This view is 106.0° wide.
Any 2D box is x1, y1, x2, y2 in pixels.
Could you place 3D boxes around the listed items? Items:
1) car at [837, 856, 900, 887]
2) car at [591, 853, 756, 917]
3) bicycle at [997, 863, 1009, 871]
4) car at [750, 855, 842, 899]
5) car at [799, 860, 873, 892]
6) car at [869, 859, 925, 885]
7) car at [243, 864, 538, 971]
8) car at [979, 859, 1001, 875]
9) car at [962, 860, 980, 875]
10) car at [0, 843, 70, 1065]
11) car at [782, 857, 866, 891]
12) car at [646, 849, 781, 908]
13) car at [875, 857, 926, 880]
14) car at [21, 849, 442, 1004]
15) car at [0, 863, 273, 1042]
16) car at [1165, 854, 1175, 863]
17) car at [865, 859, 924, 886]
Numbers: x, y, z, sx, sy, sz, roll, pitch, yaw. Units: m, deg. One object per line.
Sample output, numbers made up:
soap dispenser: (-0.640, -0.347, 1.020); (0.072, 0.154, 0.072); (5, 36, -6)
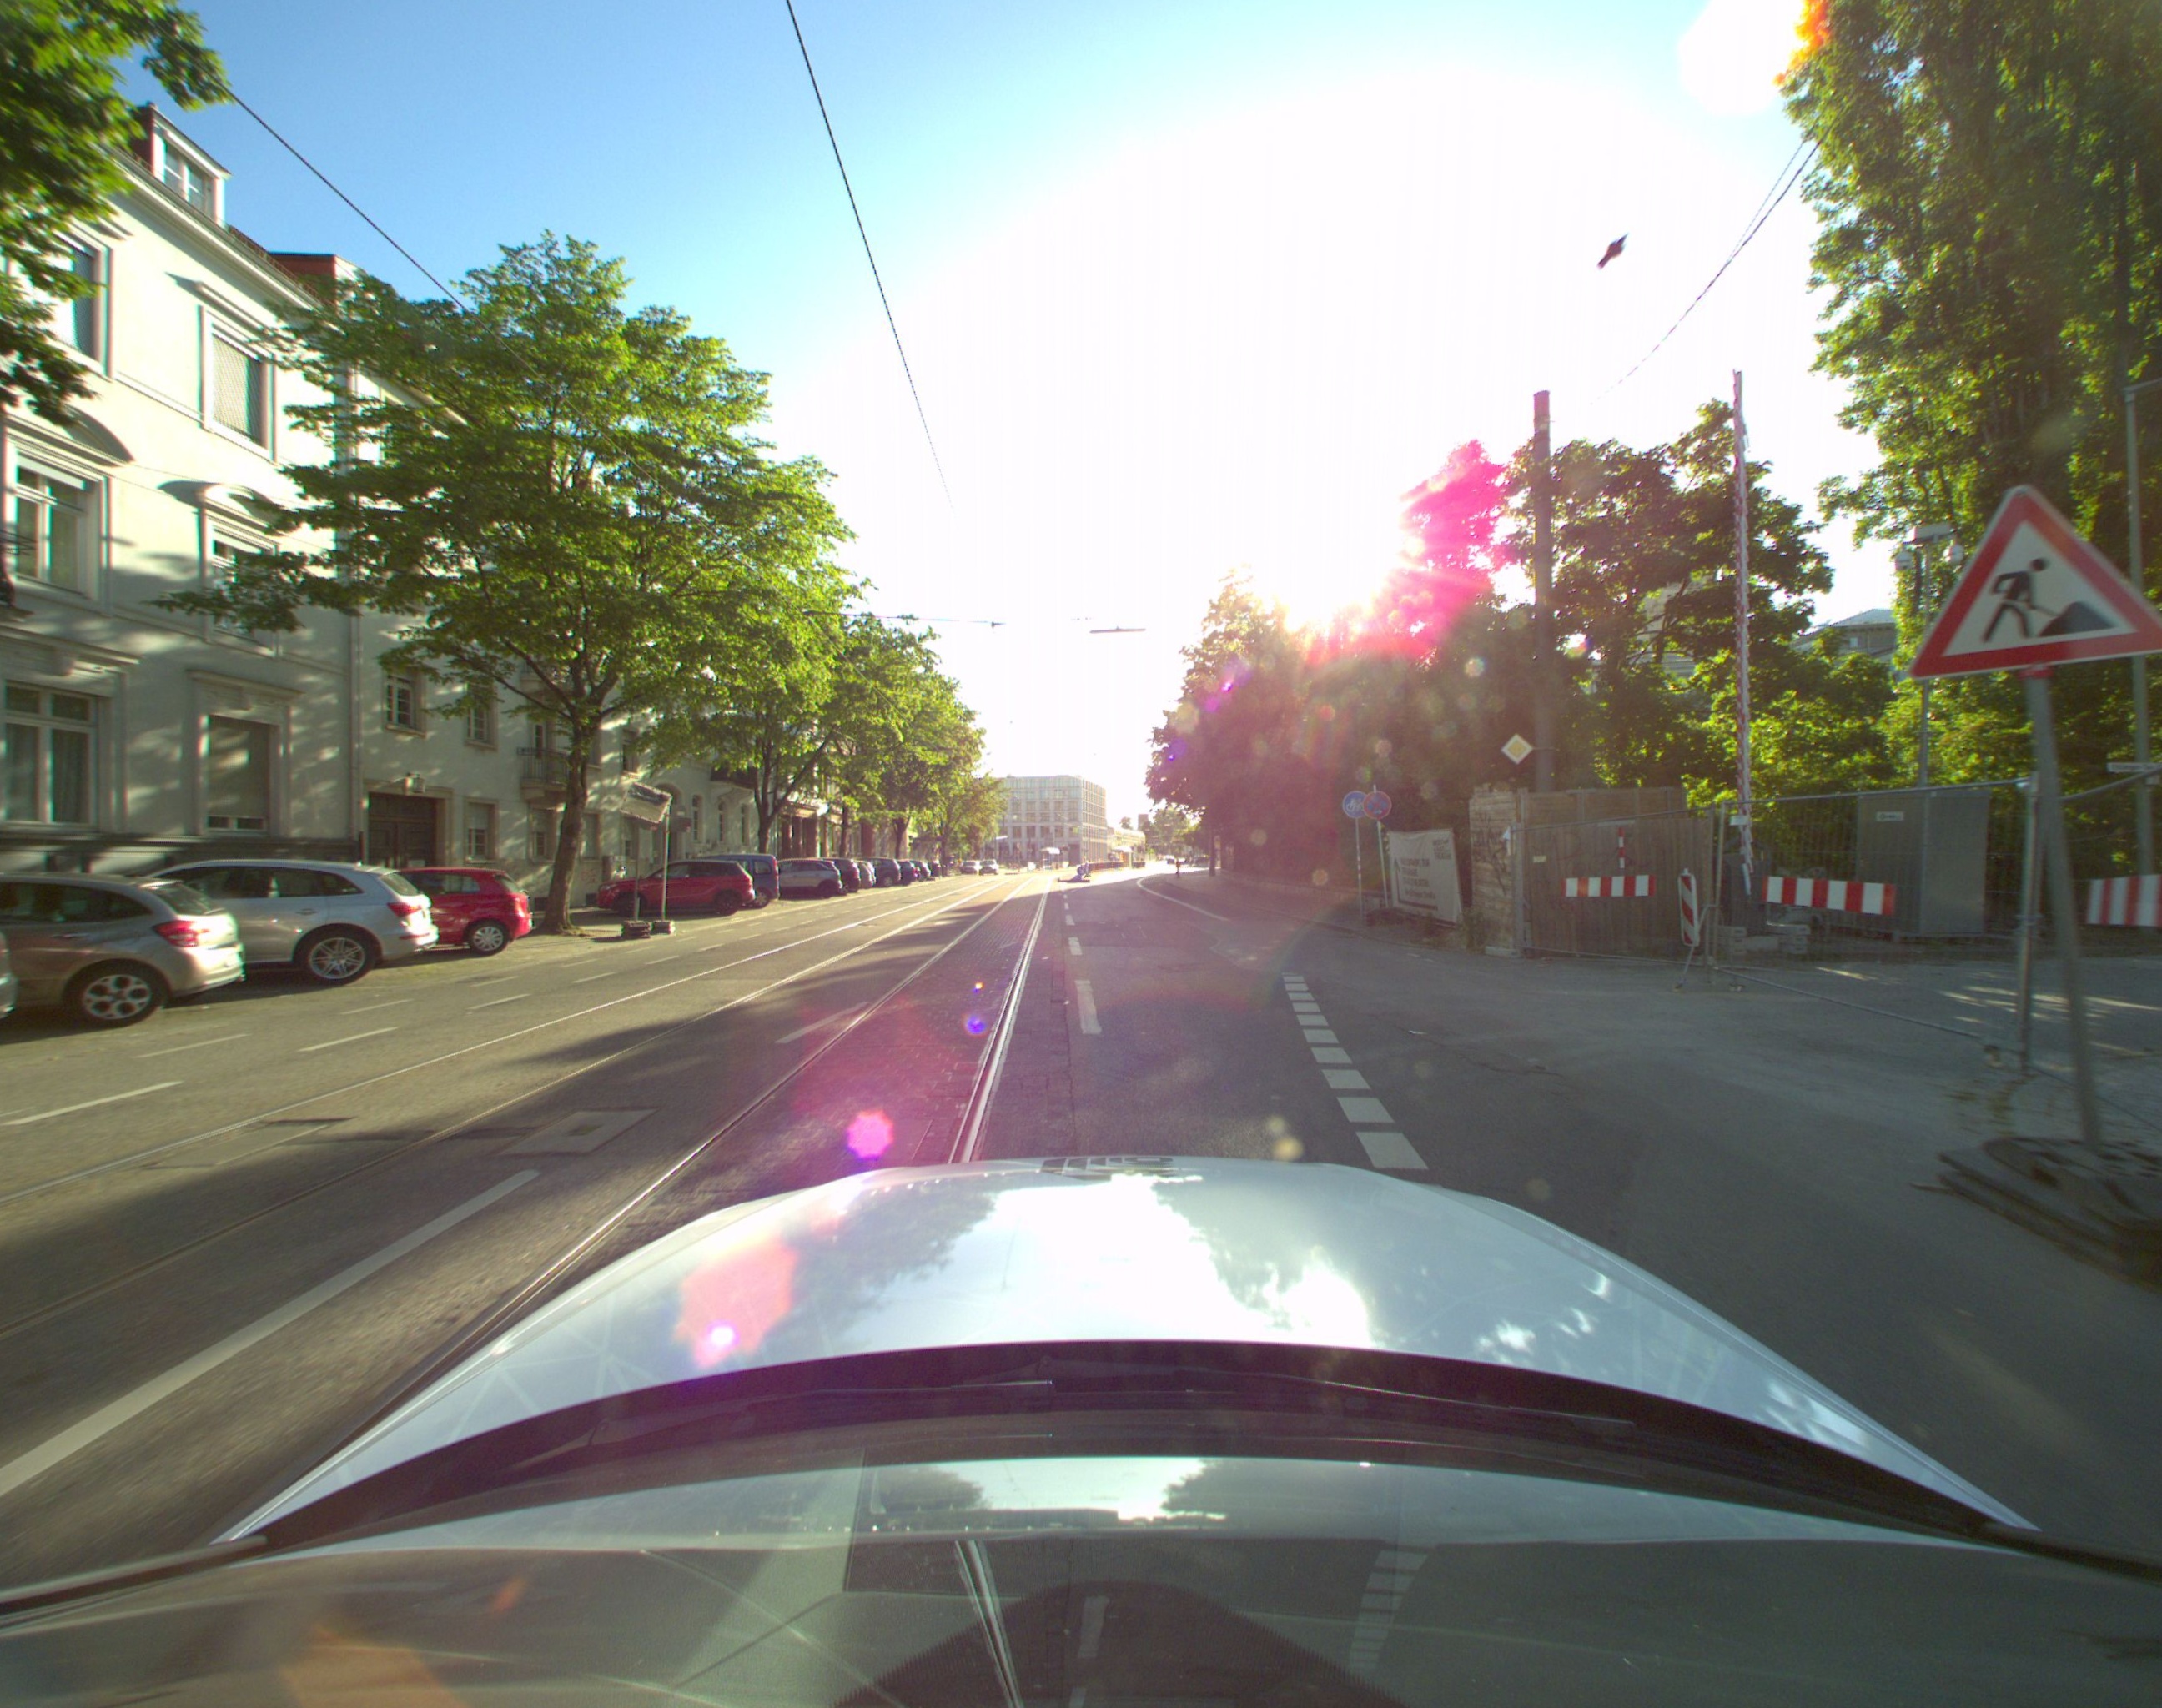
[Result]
car: (-12.120, 0.966, 46.508); (3.286, 1.698, 1.458); (-1, 0, -24)
car: (-11.800, 0.847, 23.746); (4.185, 1.721, 1.569); (0, 0, -29)
bicycle: (-11.903, 2.022, 123.896); (1.794, 1.224, 0.597); (-1, 0, -11)
car: (-11.690, 0.902, 33.480); (3.394, 1.697, 1.392); (0, -1, -30)
car: (-11.819, 1.039, 39.290); (3.286, 1.484, 1.458); (-1, 0, -24)
car: (-11.829, 1.131, 52.380); (3.286, 1.585, 1.458); (-1, 0, -24)
car: (-11.608, 0.983, 14.011); (3.703, 1.527, 1.467); (-1, 0, -37)
car: (-9.286, 1.343, 83.269); (1.552, 1.530, 4.002); (-1, 0, 2)
car: (-12.172, 1.484, 90.079); (1.568, 1.490, 3.997); (-1, 0, -1)
car: (-10.215, 0.806, 5.657); (3.703, 1.721, 1.593); (-1, 0, -37)
car: (-11.524, 0.869, 36.590); (3.394, 1.420, 1.392); (0, -1, -30)
car: (-12.069, 0.790, 26.822); (3.854, 1.832, 1.714); (1, -1, -32)
car: (-12.682, 1.011, 57.310); (3.286, 1.585, 1.458); (-1, 0, -24)
car: (-11.025, 0.819, 11.005); (3.703, 1.721, 1.593); (-1, 0, -37)
car: (-10.904, 0.954, 8.264); (3.581, 1.662, 1.719); (-1, 0, -35)
car: (20.869, 1.023, 191.303); (1.980, 2.013, 4.014); (-1, 0, 13)
car: (-11.467, 1.115, 50.117); (3.286, 1.585, 1.458); (-1, 0, -24)
